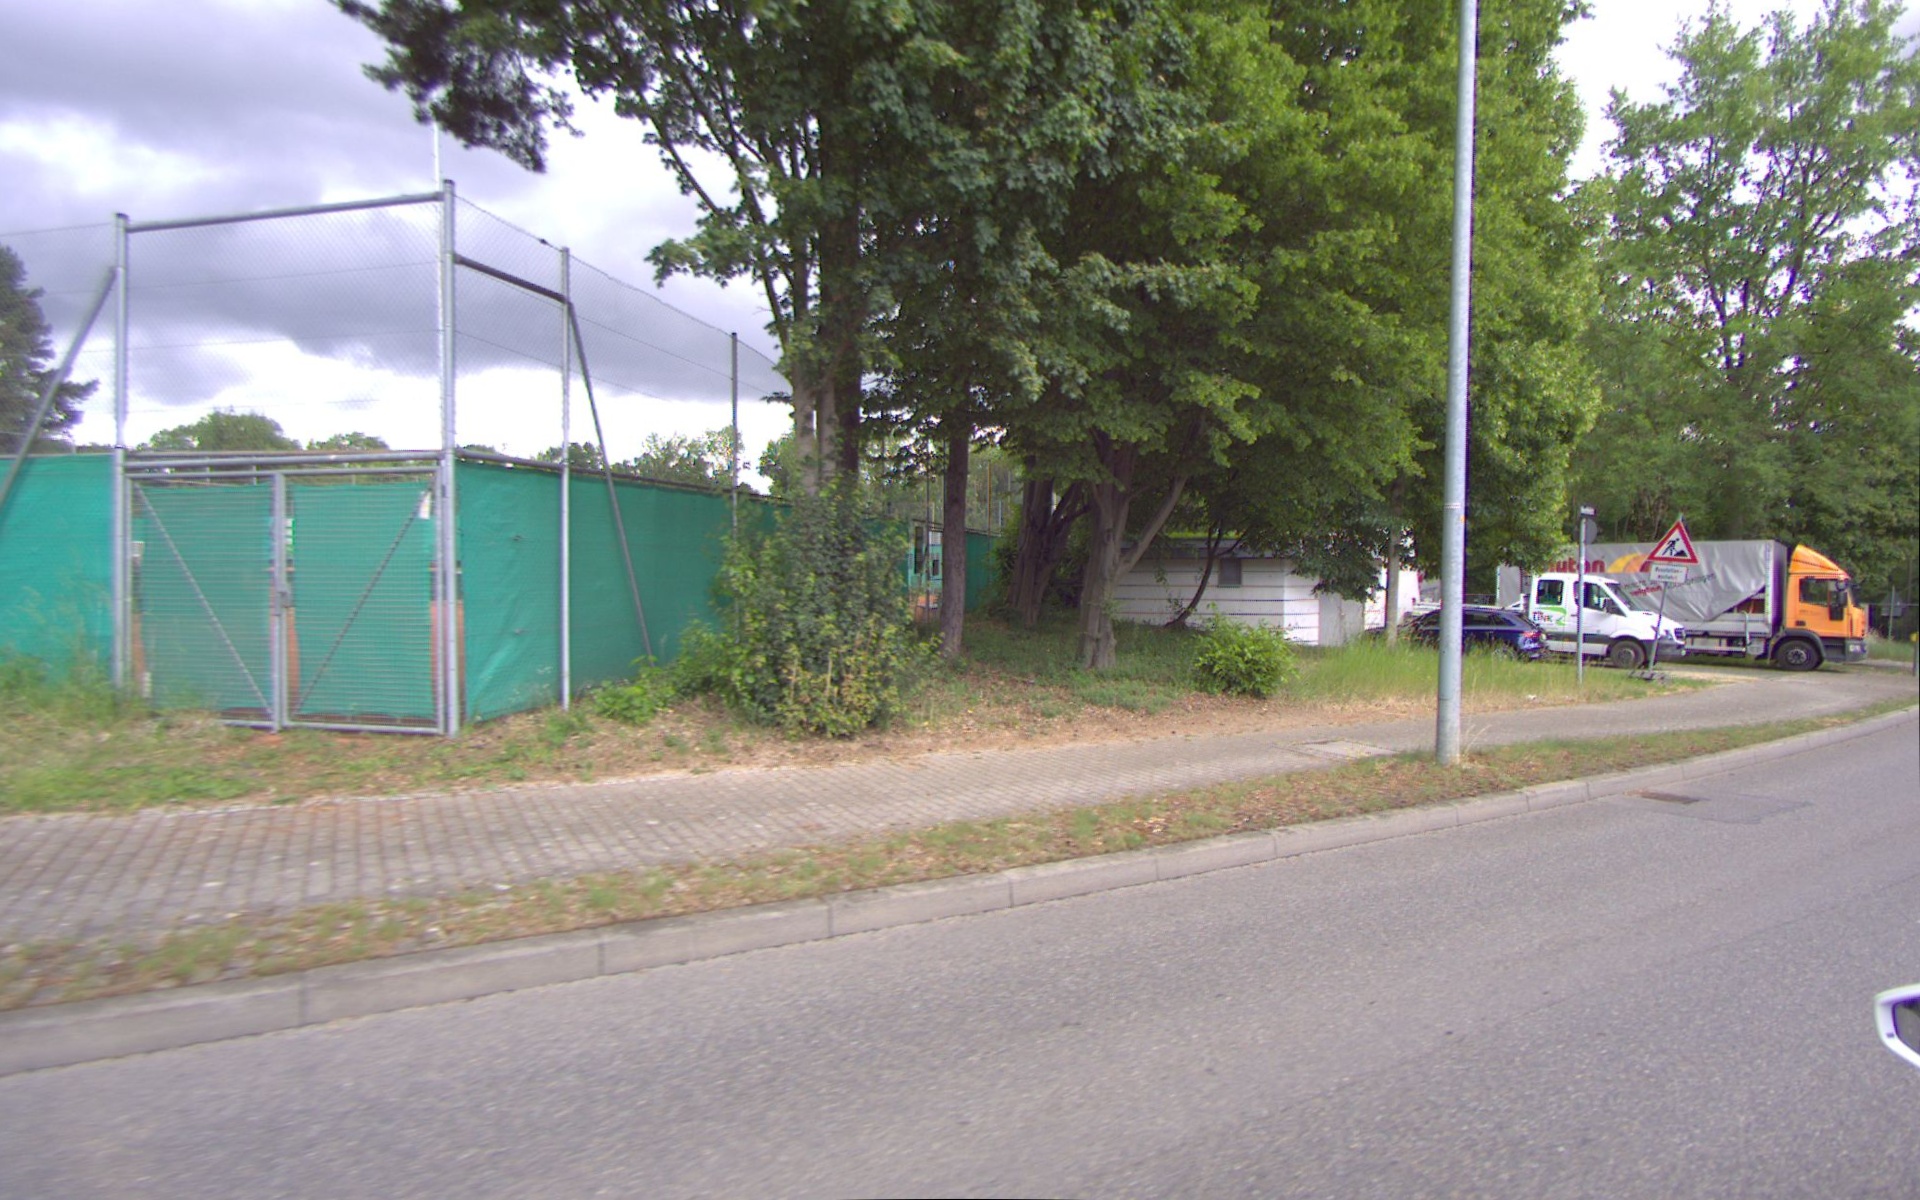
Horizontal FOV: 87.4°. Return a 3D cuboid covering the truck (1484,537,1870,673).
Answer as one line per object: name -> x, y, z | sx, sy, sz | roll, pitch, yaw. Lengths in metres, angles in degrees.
truck -> 21.316, 0.031, 30.515 | 2.547, 3.578, 9.142 | 2, 1, -43

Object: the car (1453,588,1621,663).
car -> 17.145, 0.695, 29.964 | 1.770, 1.935, 3.946 | 0, 3, -45

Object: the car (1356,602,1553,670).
car -> 11.807, 0.844, 24.113 | 3.938, 1.344, 1.710 | 3, -1, 39

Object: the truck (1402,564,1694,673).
truck -> 15.522, 0.405, 26.881 | 6.319, 2.448, 2.110 | 4, 1, 45

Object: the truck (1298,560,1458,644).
truck -> 17.180, 0.025, 41.354 | 5.809, 3.243, 2.449 | 1, 2, 30
